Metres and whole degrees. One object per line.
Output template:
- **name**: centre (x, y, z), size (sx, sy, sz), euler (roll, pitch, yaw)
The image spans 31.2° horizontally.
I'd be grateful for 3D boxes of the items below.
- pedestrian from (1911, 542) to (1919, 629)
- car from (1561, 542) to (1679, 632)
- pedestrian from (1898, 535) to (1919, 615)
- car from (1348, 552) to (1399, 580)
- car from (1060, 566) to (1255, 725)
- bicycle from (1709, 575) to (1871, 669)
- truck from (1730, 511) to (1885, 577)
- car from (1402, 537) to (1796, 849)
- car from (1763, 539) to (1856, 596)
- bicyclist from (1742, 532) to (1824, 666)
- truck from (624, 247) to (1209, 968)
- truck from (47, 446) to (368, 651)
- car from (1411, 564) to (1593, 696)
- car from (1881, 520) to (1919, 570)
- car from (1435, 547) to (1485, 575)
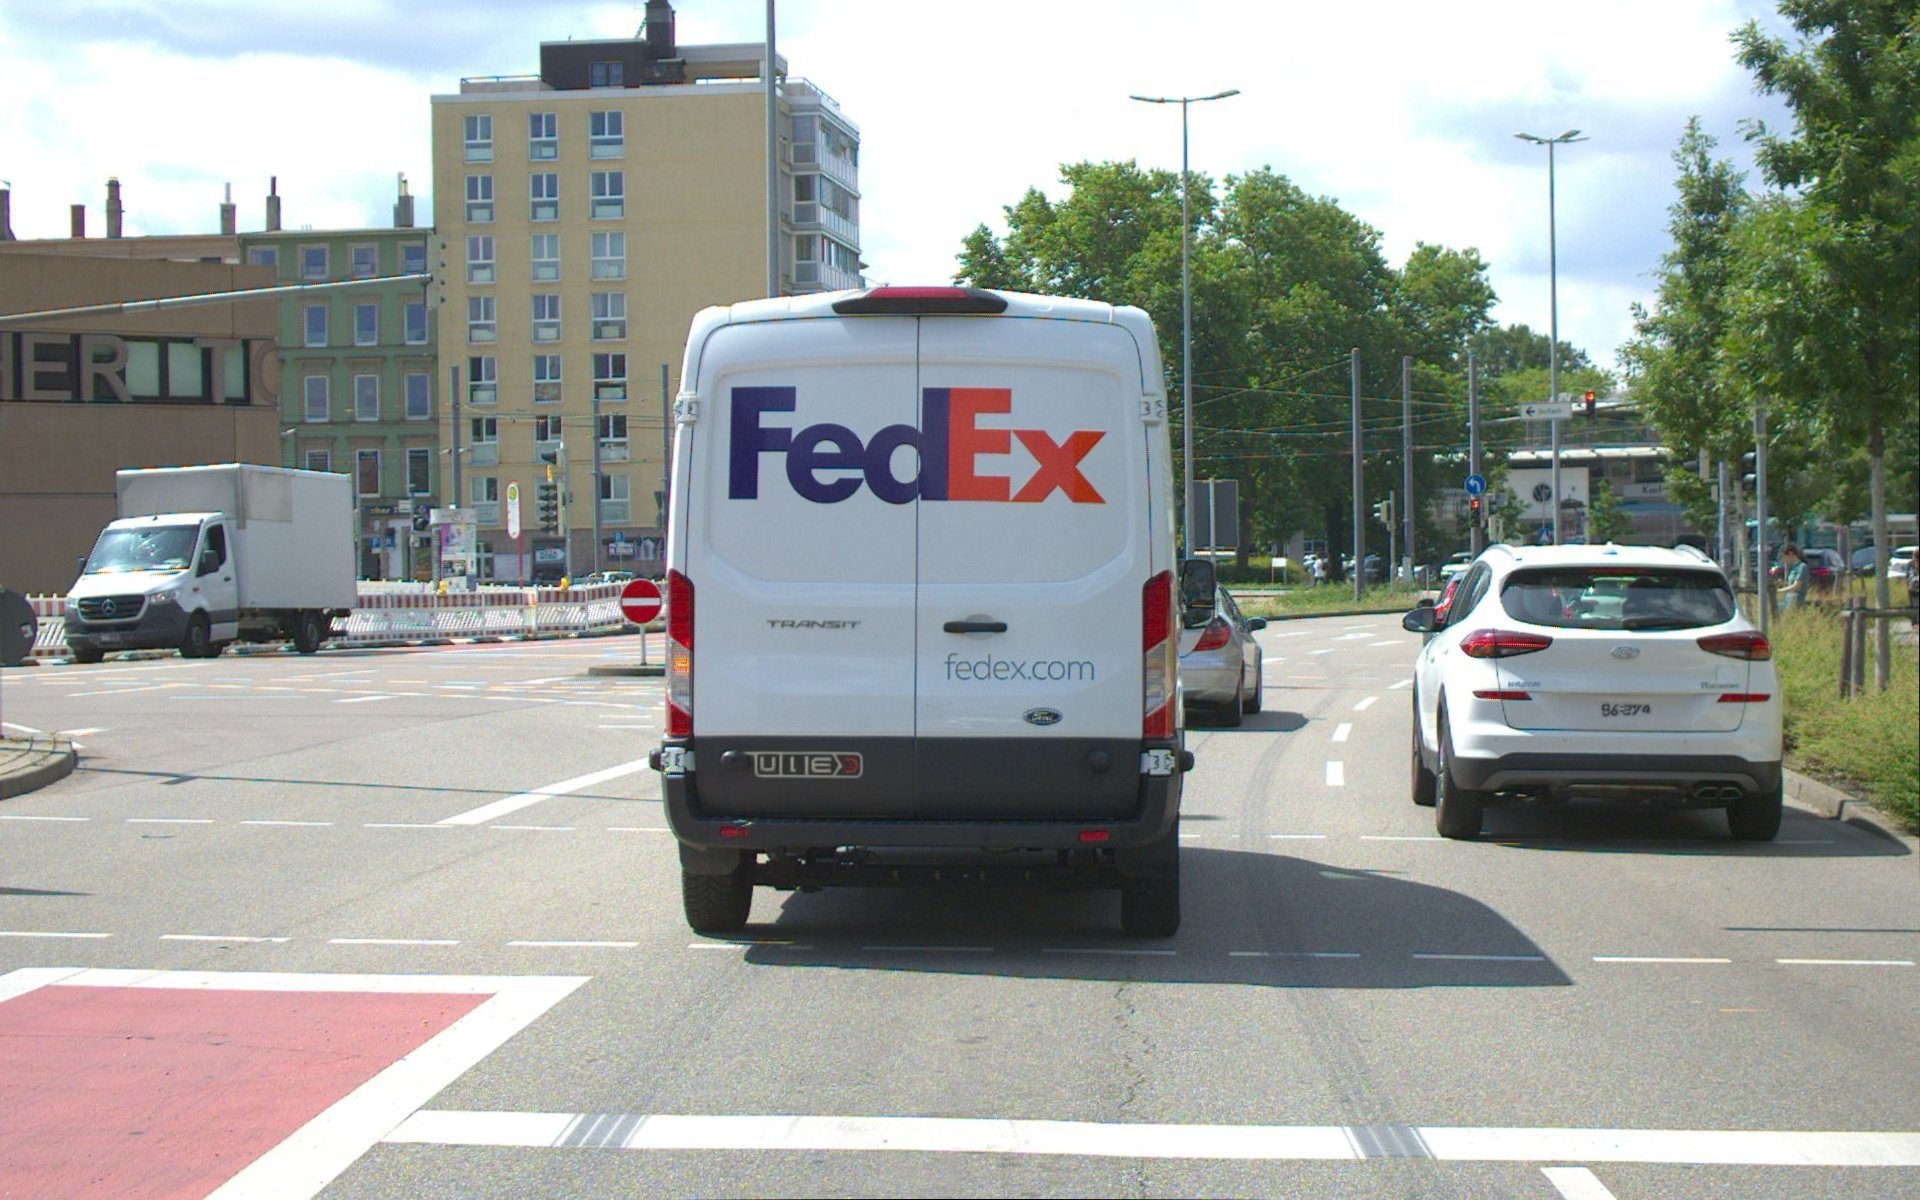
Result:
- **pedestrian**: centre (18.225, -0.269, 64.546), size (0.587, 1.620, 0.727), euler (1, 0, 7)
- **car**: centre (12.526, -0.269, 65.094), size (1.882, 1.636, 3.954), euler (0, 1, 15)
- **pedestrian**: centre (19.202, -0.498, 68.608), size (0.756, 1.584, 0.761), euler (1, 0, 1)
- **car**: centre (23.958, -1.983, 199.118), size (1.995, 1.568, 4.173), euler (1, 0, 20)
- **car**: centre (1.962, 0.392, 33.185), size (1.741, 1.387, 4.179), euler (-1, 1, 5)
- **bicycle**: centre (10.166, 0.272, 42.160), size (1.810, 1.046, 0.591), euler (-3, -1, 6)
- **truck**: centre (37.677, -2.508, 152.587), size (2.892, 2.842, 8.771), euler (0, 1, 42)
- **car**: centre (3.648, 0.460, 20.302), size (1.881, 1.636, 4.232), euler (-1, 1, 5)
- **car**: centre (25.066, -0.975, 101.379), size (1.884, 1.636, 3.951), euler (0, 1, 26)
- **bicyclist**: centre (10.089, -0.013, 42.170), size (0.828, 1.596, 0.579), euler (-3, -1, 6)
- **truck**: centre (-0.002, -0.005, 15.576), size (2.137, 2.631, 5.917), euler (0, 0, 3)
- **truck**: centre (-11.863, -0.771, 54.908), size (1.995, 3.057, 7.326), euler (1, 0, 13)
- **car**: centre (6.267, 0.313, 40.099), size (1.915, 1.415, 3.917), euler (-1, 1, 6)
- **car**: centre (32.535, -1.869, 115.503), size (1.885, 1.636, 3.949), euler (0, 1, 34)
- **car**: centre (28.675, -2.222, 196.959), size (1.995, 1.568, 4.173), euler (1, 0, 20)
